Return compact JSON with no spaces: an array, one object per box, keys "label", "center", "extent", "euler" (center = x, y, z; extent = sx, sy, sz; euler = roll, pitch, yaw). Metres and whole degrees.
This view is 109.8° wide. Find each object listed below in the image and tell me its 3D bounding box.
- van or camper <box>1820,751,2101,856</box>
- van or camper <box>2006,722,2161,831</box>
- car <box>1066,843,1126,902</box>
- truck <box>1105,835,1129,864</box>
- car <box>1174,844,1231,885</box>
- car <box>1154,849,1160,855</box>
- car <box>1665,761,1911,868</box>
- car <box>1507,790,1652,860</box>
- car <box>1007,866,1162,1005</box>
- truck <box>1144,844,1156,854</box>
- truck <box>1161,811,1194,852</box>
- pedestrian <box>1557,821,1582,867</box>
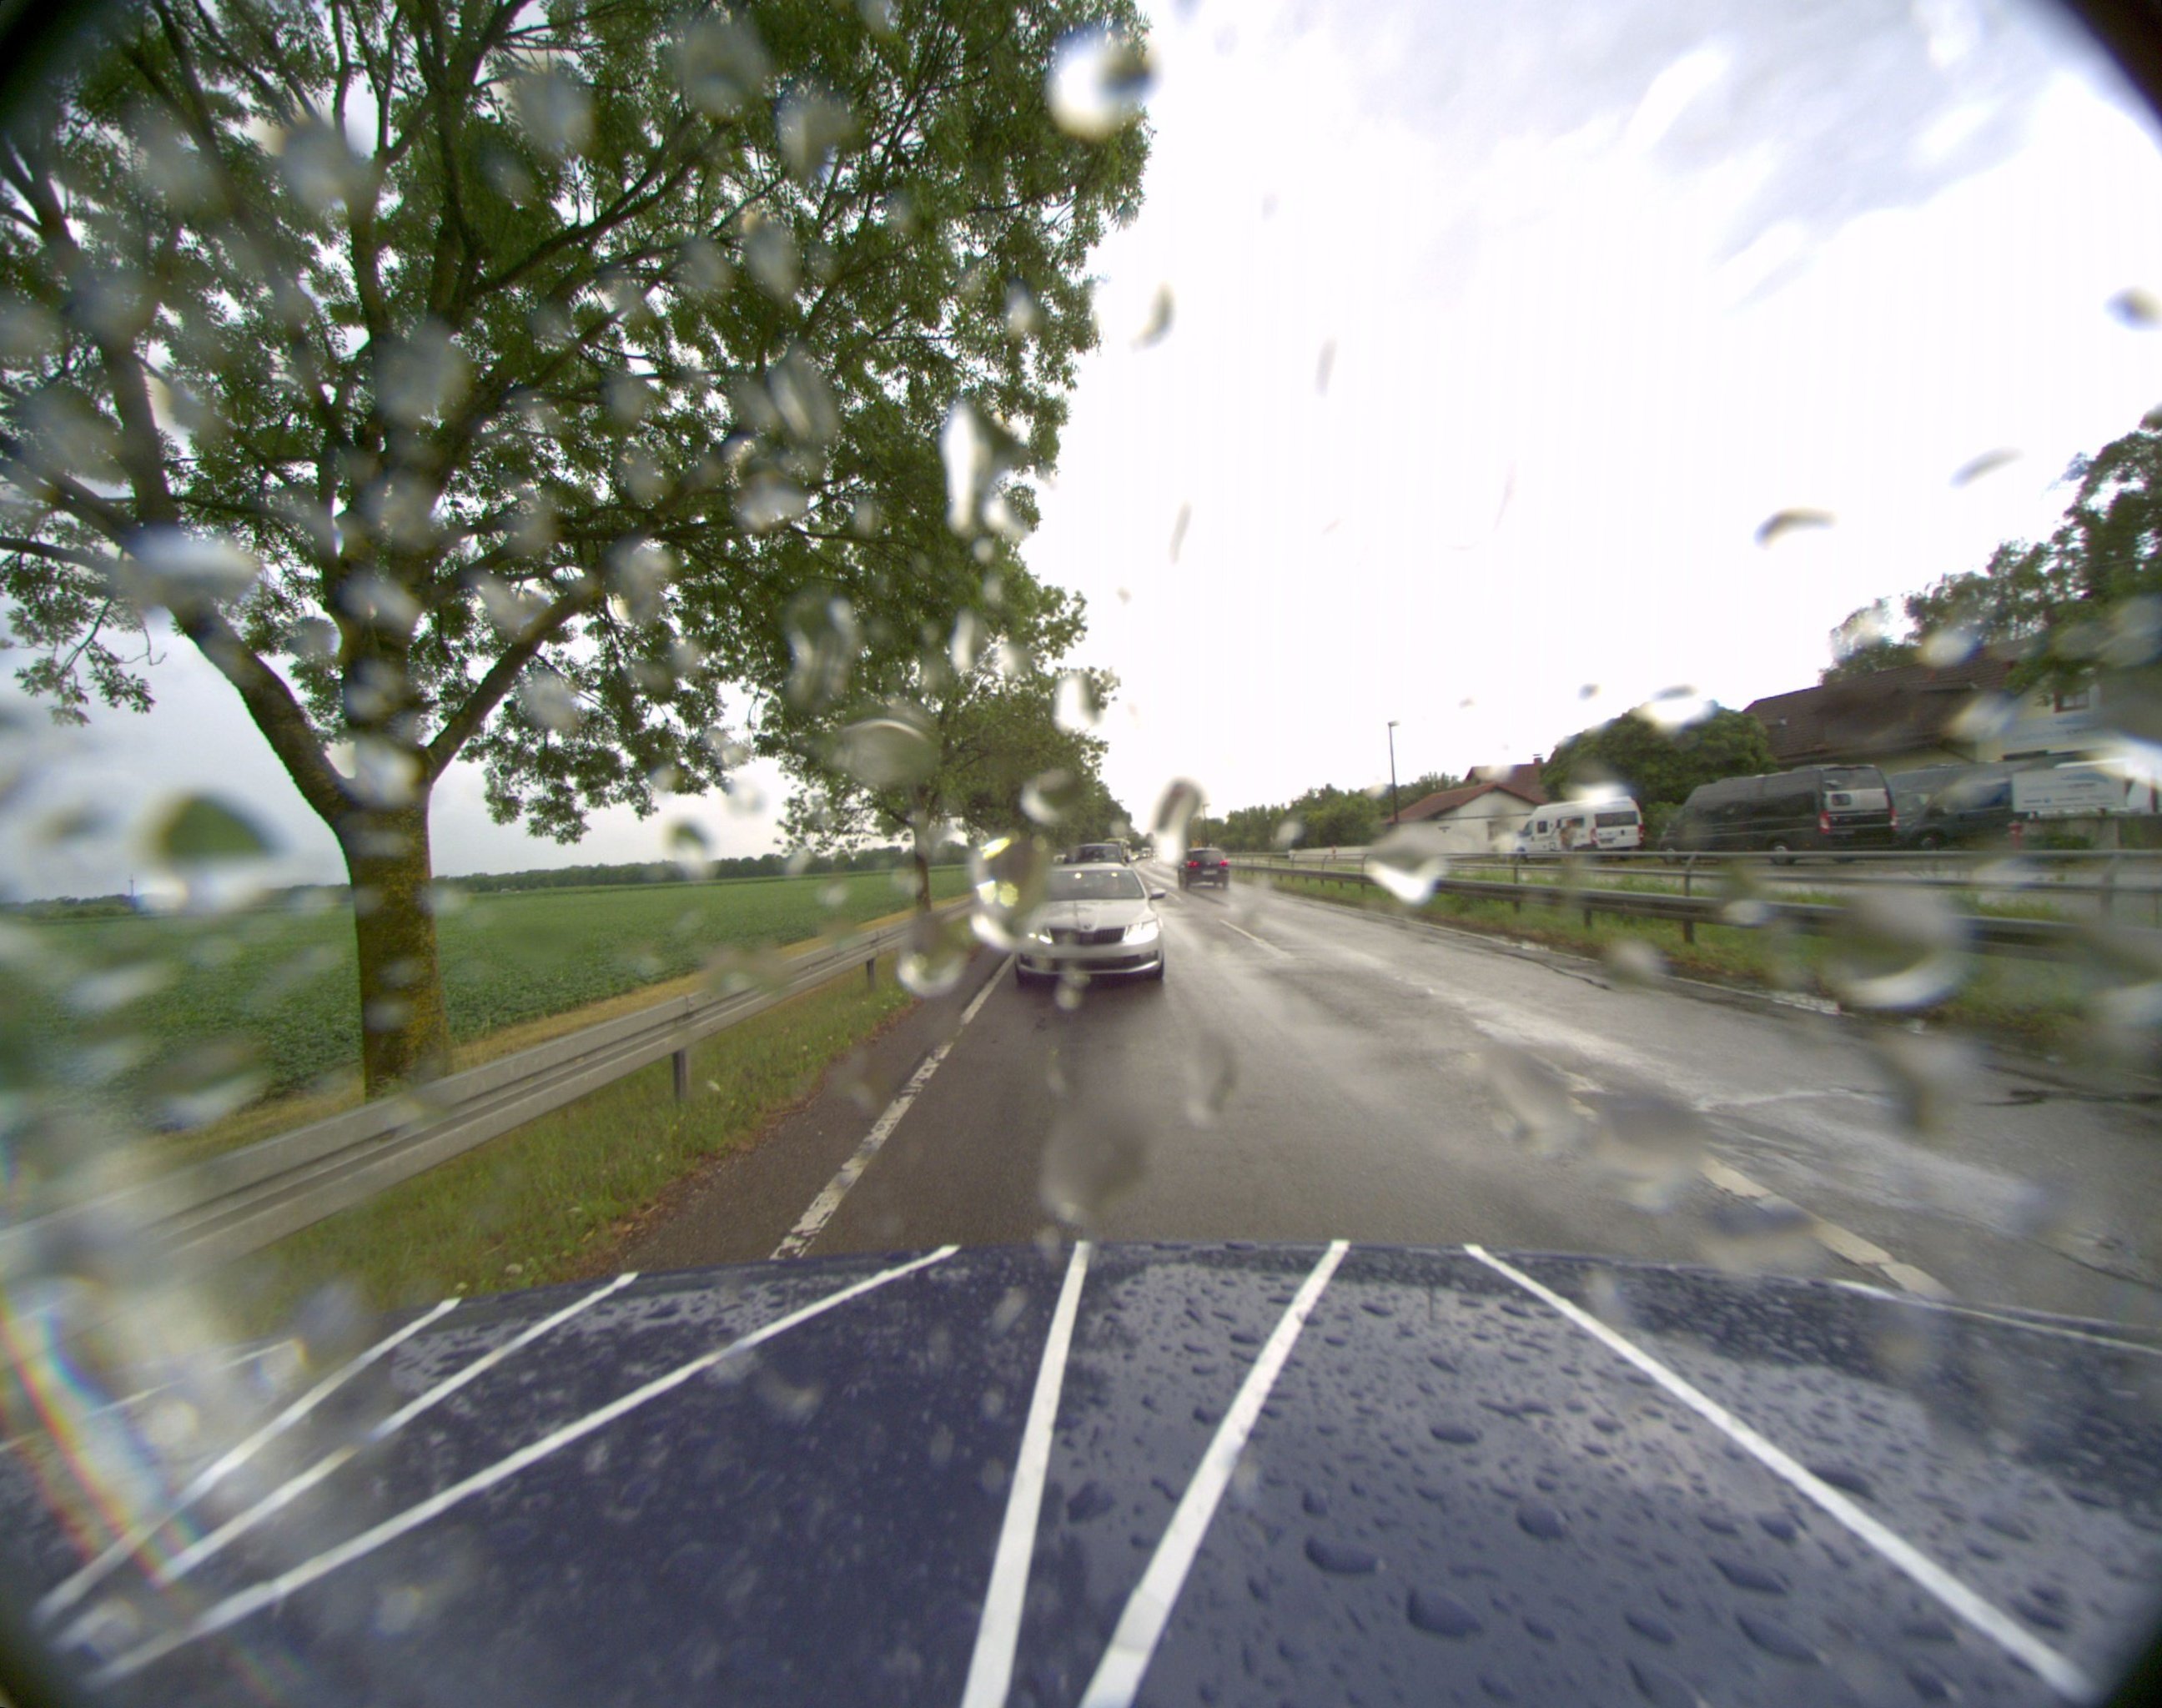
[{"label":"van or camper","center":[27.867,-1.526,24.262],"extent":[6.068,2.785,2.434],"euler":[-4,0,0]},{"label":"van or camper","center":[29.294,-2.144,20.198],"extent":[6.239,2.576,2.562],"euler":[-4,0,0]},{"label":"car","center":[0.502,0.589,26.567],"extent":[1.903,1.884,4.000],"euler":[-1,0,1]},{"label":"truck","center":[4.708,-0.589,100.722],"extent":[2.751,3.547,8.387],"euler":[-4,0,2]},{"label":"car","center":[5.148,0.428,32.548],"extent":[1.768,1.610,4.000],"euler":[-2,0,0]},{"label":"car","center":[23.899,-0.642,239.032],"extent":[1.811,1.723,4.027],"euler":[-4,0,2]},{"label":"car","center":[21.447,-1.086,23.536],"extent":[2.389,2.747,5.573],"euler":[-4,0,1]},{"label":"car","center":[21.180,-1.146,32.700],"extent":[2.243,2.565,6.019],"euler":[-4,0,1]},{"label":"car","center":[0.060,0.945,10.467],"extent":[1.705,1.438,4.000],"euler":[-1,0,1]},{"label":"truck","center":[19.255,-1.336,212.424],"extent":[2.800,2.461,7.169],"euler":[-3,0,4]},{"label":"truck","center":[12.974,-2.932,102.577],"extent":[3.256,5.004,7.783],"euler":[-4,0,0]},{"label":"pedestrian","center":[18.564,-0.375,28.863],"extent":[0.516,1.701,0.650],"euler":[-3,1,9]}]
